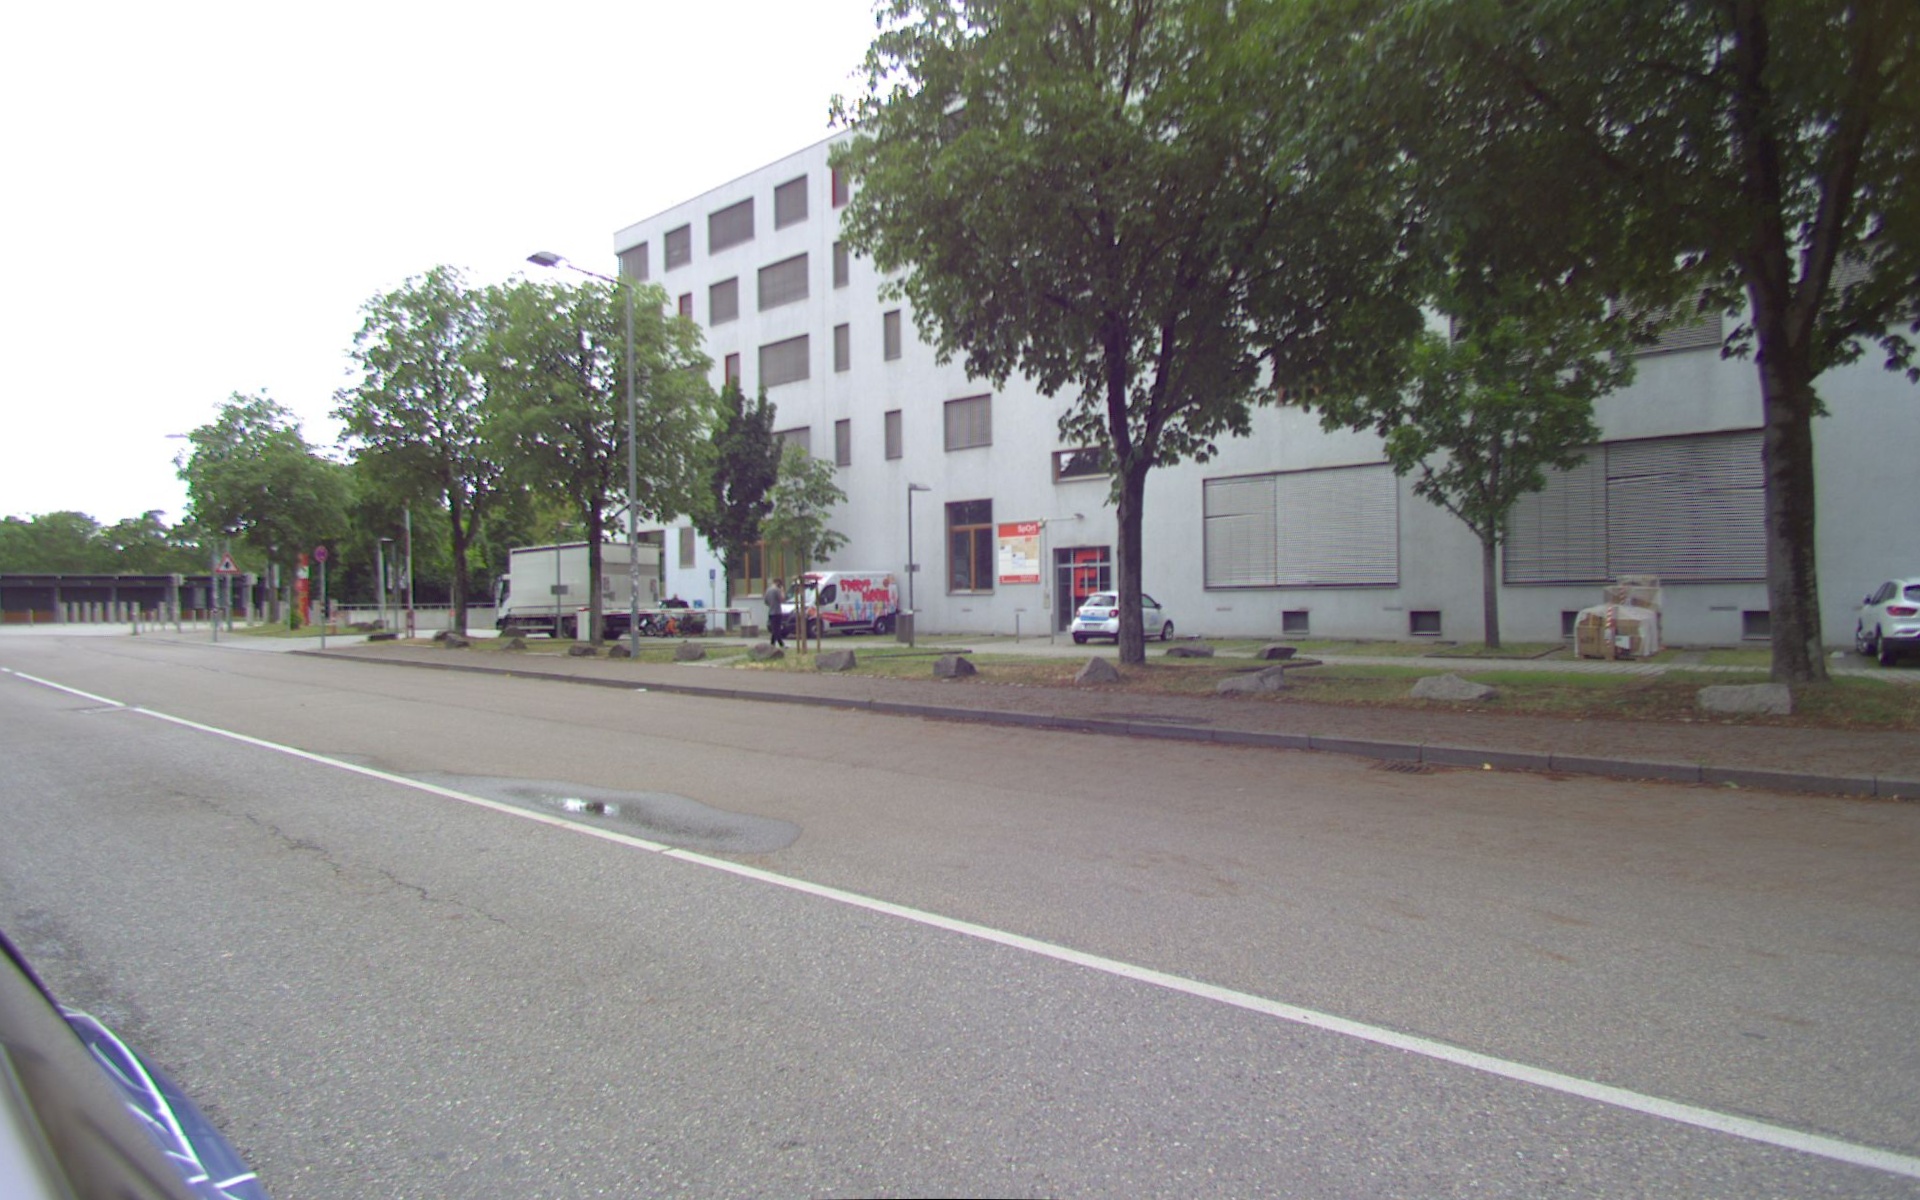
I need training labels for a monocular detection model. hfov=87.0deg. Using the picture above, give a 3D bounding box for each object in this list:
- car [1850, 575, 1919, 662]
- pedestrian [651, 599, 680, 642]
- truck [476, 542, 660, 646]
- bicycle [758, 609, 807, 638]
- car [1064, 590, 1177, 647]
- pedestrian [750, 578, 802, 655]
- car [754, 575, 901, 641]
[{"bbox_3d":[17.929,0.282,18.656,1.896,1.467,3.963,0,1,36],"label":"car"},{"bbox_3d":[-11.441,0.795,39.297,0.885,1.618,0.672,0,1,34],"label":"pedestrian"},{"bbox_3d":[-15.141,-0.268,38.745,8.354,3.627,2.651,0,1,38],"label":"truck"},{"bbox_3d":[-7.258,0.955,41.440,0.614,1.078,2.002,0,2,44],"label":"bicycle"},{"bbox_3d":[4.789,0.489,29.861,1.691,1.511,3.576,0,1,40],"label":"car"},{"bbox_3d":[-4.132,0.353,22.762,0.785,1.684,0.836,0,1,36],"label":"pedestrian"},{"bbox_3d":[-4.871,0.227,38.099,2.078,2.296,5.569,0,1,40],"label":"car"}]
